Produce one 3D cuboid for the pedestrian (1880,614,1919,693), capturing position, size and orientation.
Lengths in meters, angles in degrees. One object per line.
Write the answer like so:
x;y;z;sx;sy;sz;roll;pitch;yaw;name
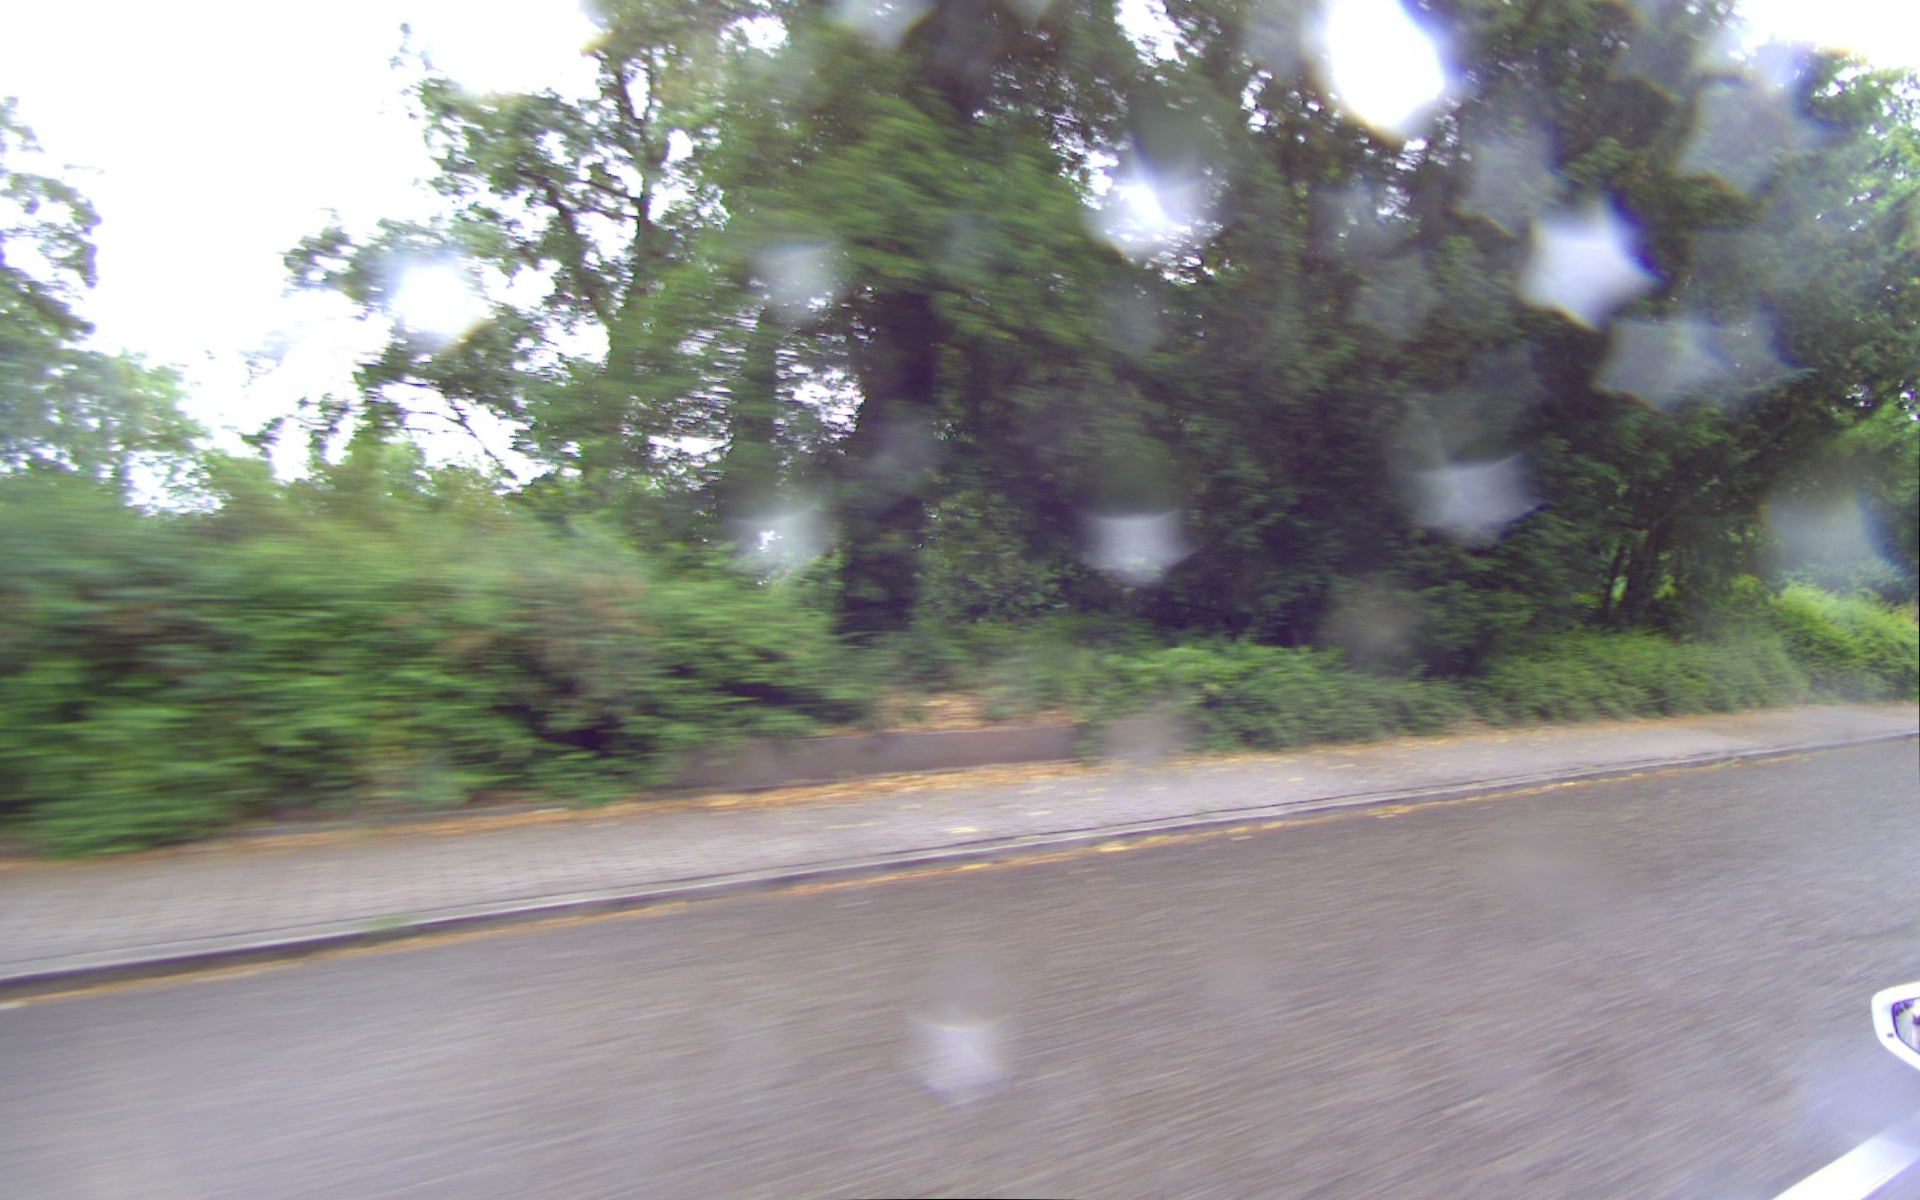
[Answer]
20.594;1.152;21.817;0.694;1.666;0.713;1;0;24;pedestrian
